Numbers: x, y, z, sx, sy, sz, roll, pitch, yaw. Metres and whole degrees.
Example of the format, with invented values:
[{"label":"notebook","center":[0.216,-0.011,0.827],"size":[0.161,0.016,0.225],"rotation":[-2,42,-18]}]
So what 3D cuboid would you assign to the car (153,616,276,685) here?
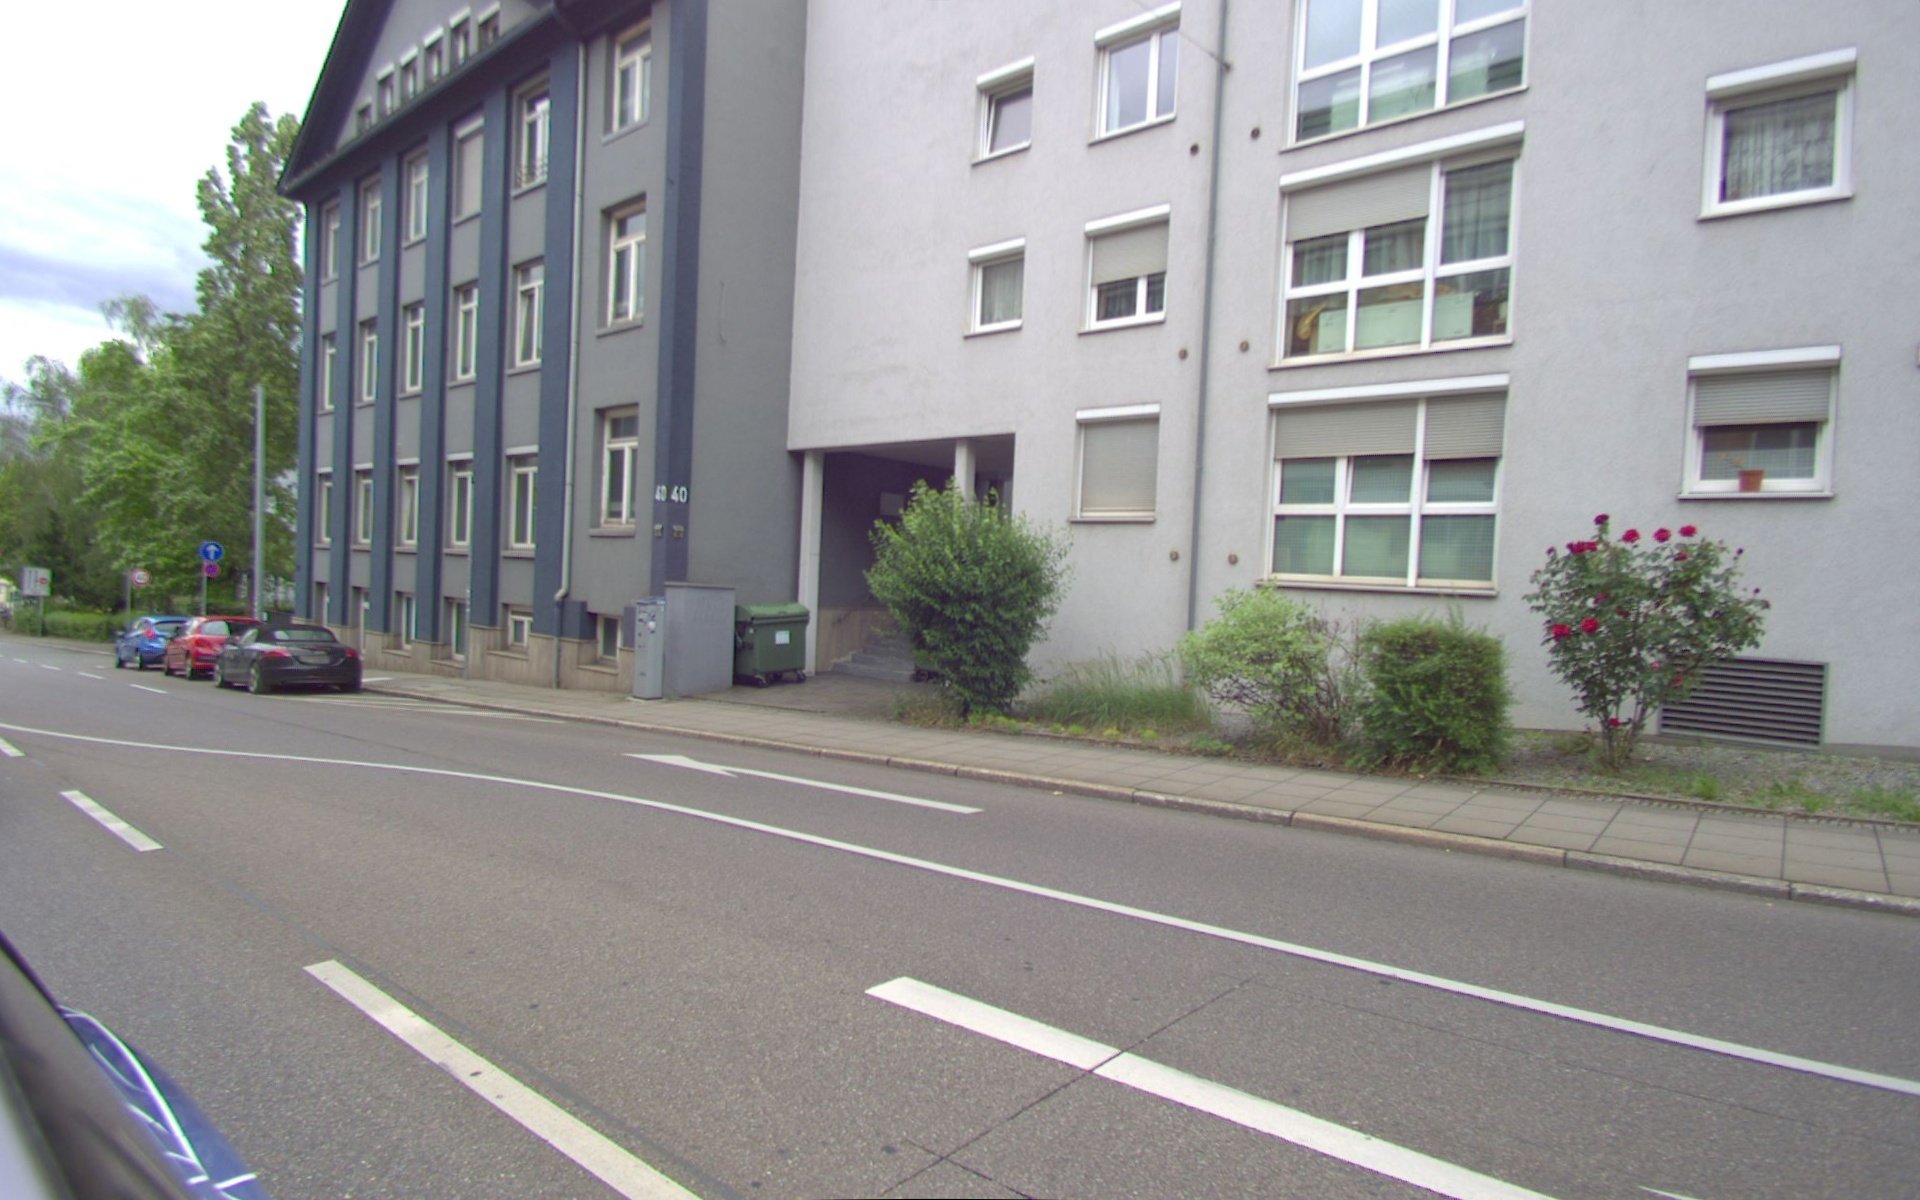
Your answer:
[{"label":"car","center":[-17.912,1.139,24.270],"size":[3.727,1.460,1.623],"rotation":[0,1,41]}]

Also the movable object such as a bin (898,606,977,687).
[{"label":"movable object such as a bin","center":[-0.420,0.842,18.968],"size":[1.078,1.427,1.026],"rotation":[0,0,41]}]

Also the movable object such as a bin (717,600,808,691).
[{"label":"movable object such as a bin","center":[-3.503,0.772,17.972],"size":[1.039,1.518,1.213],"rotation":[0,0,41]}]

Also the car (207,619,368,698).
[{"label":"car","center":[-13.565,1.109,20.345],"size":[3.727,1.403,1.778],"rotation":[0,-1,41]}]

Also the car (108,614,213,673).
[{"label":"car","center":[-22.098,1.143,27.928],"size":[3.727,1.460,1.623],"rotation":[0,1,41]}]
